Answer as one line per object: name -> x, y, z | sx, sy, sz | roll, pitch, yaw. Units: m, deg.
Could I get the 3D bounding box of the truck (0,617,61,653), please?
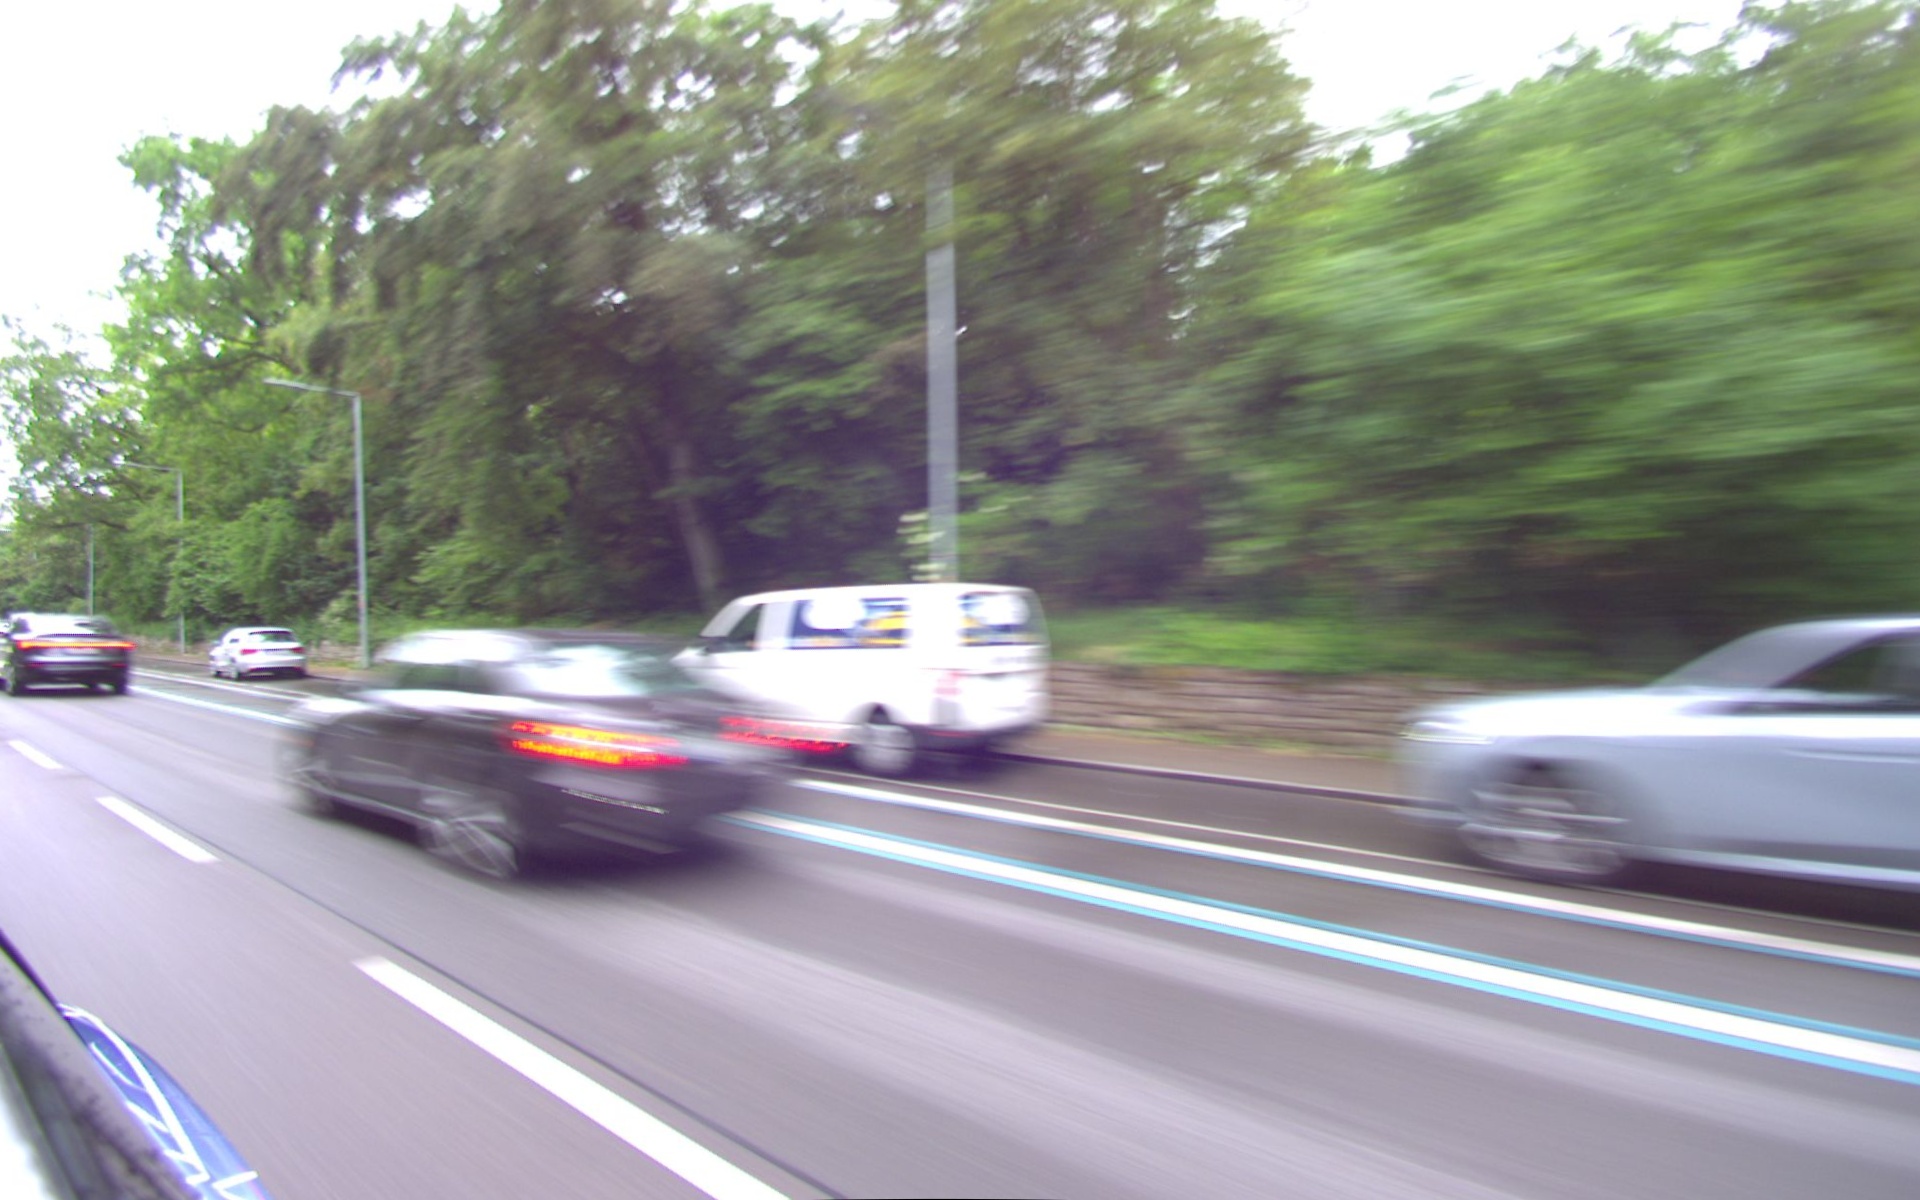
truck -> -53.882, 1.998, 58.464 | 5.152, 2.029, 2.073 | -2, -2, 38

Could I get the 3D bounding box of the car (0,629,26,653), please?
car -> -61.545, 2.614, 64.968 | 4.751, 1.509, 1.787 | -1, -2, 41

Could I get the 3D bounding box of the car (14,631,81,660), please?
car -> -46.154, 2.263, 51.181 | 4.439, 1.409, 1.803 | -1, -2, 38

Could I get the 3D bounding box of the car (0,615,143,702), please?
car -> -19.011, 1.198, 21.365 | 4.463, 1.629, 1.940 | -1, -4, 41

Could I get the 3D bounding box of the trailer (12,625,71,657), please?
trailer -> -49.810, 2.221, 54.919 | 1.329, 1.670, 2.271 | 0, -1, -11

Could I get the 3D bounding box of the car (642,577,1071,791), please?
car -> -1.370, 0.855, 11.859 | 5.010, 2.020, 1.955 | -2, -1, 37

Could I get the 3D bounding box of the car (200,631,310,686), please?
car -> -19.842, 1.600, 28.421 | 4.026, 1.416, 1.672 | -2, -1, 42

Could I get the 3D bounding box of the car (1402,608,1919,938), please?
car -> 5.331, 0.868, 5.759 | 4.777, 1.618, 1.989 | -2, -2, 41

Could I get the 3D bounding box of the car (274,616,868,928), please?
car -> -2.931, 0.896, 7.042 | 4.618, 1.468, 1.895 | -1, -4, 41
